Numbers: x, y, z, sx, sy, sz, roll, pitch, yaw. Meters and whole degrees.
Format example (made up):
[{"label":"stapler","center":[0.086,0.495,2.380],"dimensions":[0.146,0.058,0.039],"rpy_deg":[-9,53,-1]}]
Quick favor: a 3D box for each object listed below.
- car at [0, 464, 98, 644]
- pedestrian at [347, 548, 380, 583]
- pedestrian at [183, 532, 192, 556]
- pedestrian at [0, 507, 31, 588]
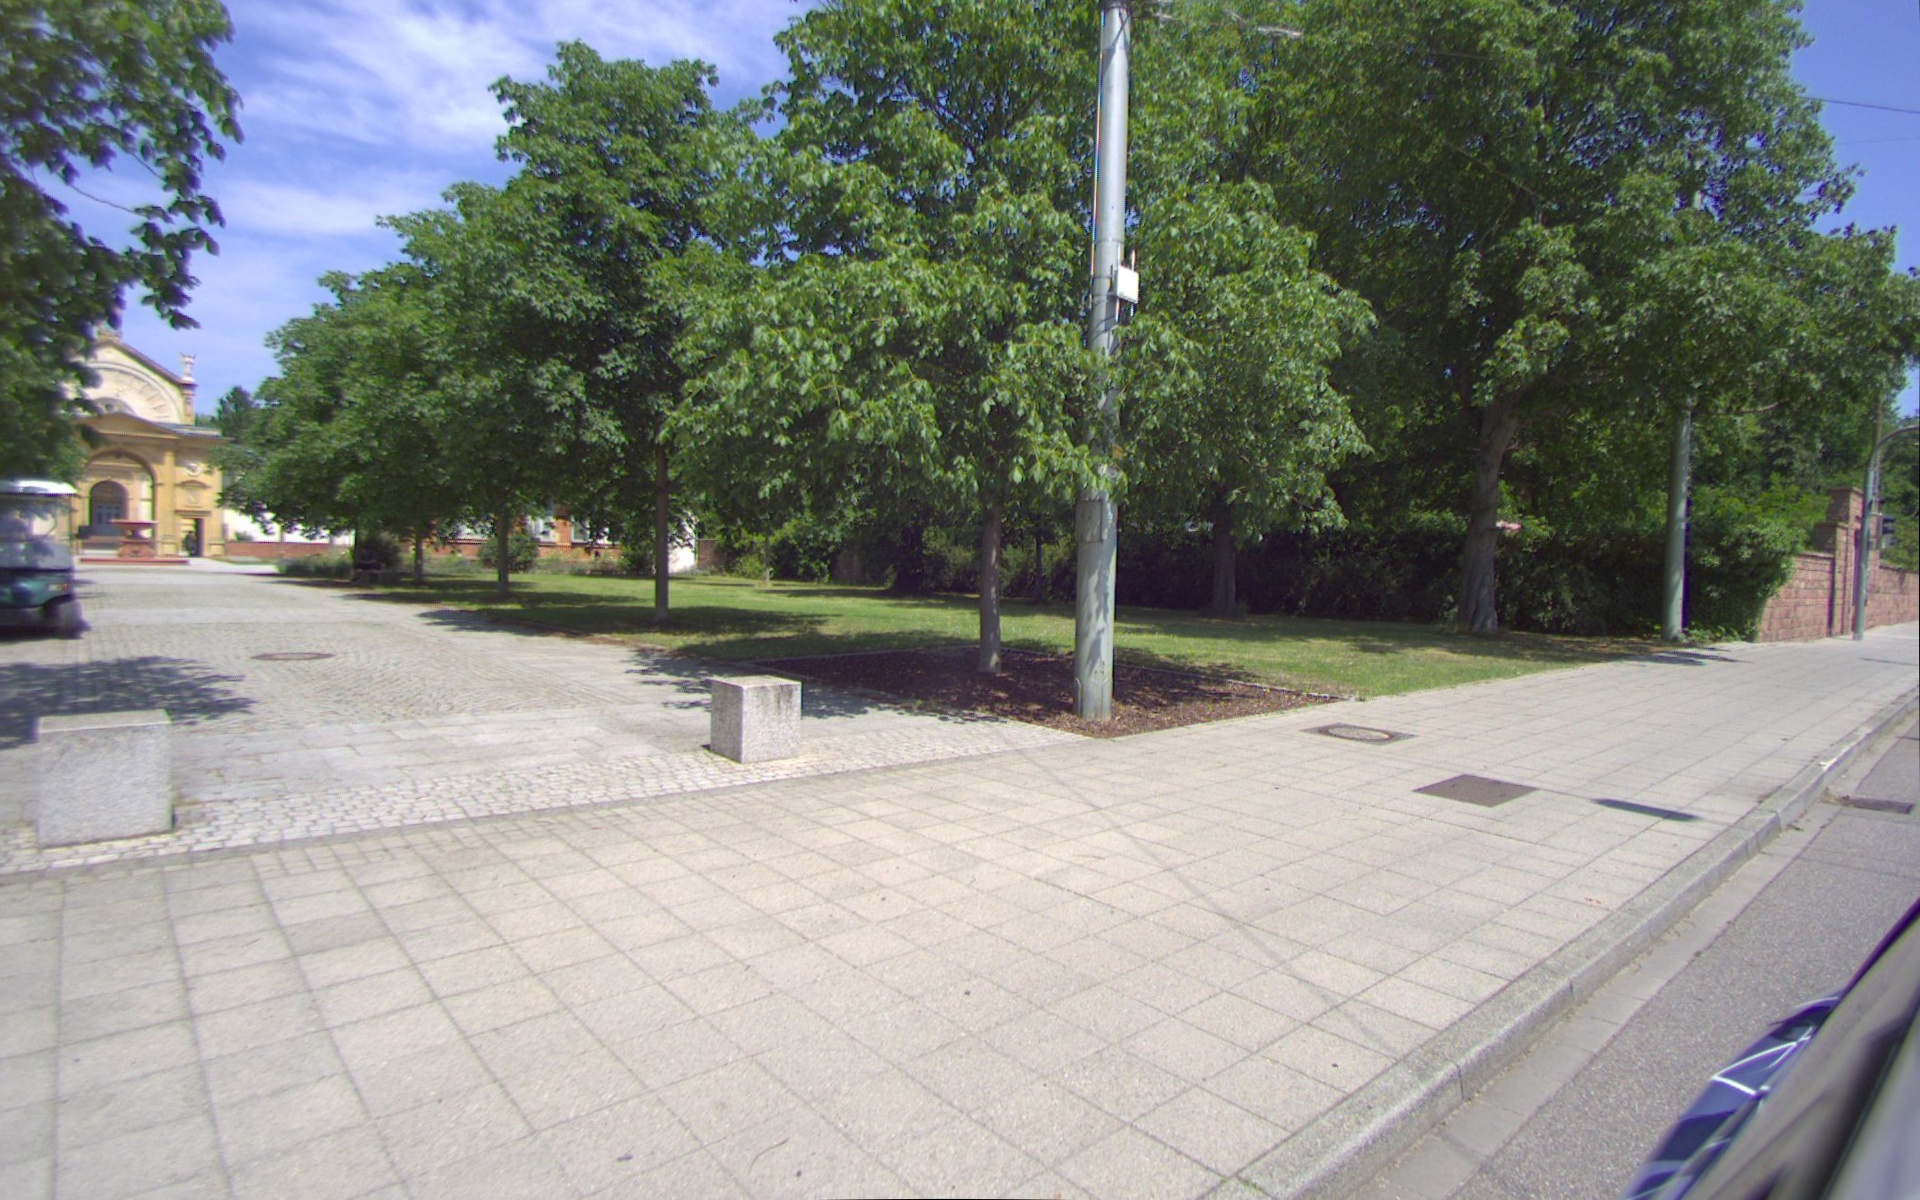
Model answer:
[{"label":"car","center":[-11.907,-0.619,12.811],"dimensions":[1.439,2.038,3.339],"rpy_deg":[-2,4,-40]},{"label":"pedestrian","center":[-19.735,-1.149,33.463],"dimensions":[0.817,1.127,0.795],"rpy_deg":[0,3,-41]},{"label":"pedestrian","center":[-49.680,-3.576,65.058],"dimensions":[0.409,1.505,0.503],"rpy_deg":[0,3,-42]},{"label":"pedestrian","center":[-21.535,-1.188,22.891],"dimensions":[0.756,1.815,0.773],"rpy_deg":[0,3,-43]}]
